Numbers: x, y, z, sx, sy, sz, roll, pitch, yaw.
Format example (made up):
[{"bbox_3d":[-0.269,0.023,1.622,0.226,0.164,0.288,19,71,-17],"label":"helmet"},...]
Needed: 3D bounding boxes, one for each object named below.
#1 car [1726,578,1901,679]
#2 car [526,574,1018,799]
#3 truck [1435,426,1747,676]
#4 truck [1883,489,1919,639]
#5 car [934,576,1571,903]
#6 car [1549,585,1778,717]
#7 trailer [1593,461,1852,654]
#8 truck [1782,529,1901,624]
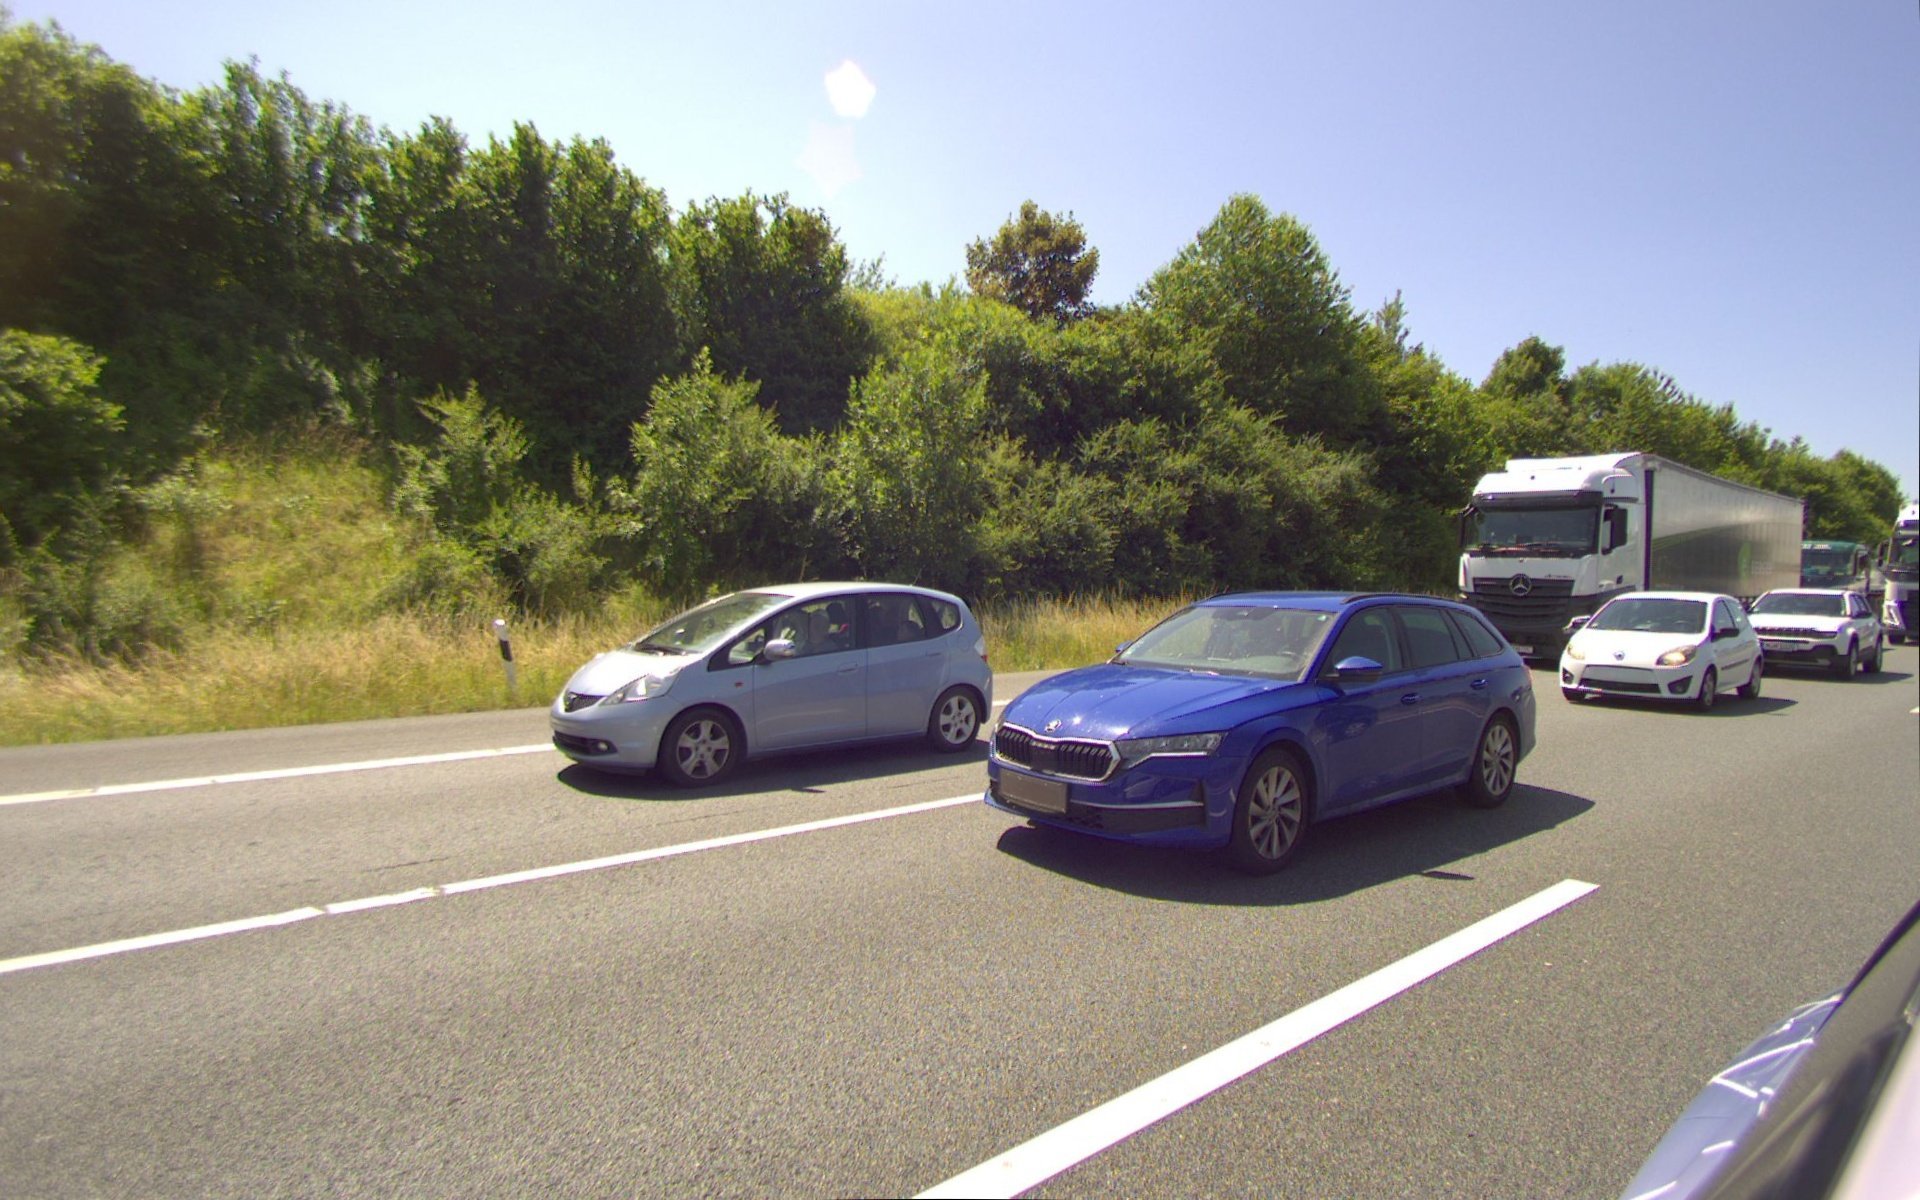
[{"bbox_3d":[15.452,0.420,18.270,3.816,1.577,1.748,-1,3,-40],"label":"car"},{"bbox_3d":[-1.462,0.549,8.690,3.854,1.479,1.665,-1,2,-42],"label":"car"},{"bbox_3d":[13.209,-0.900,20.828,8.322,4.208,2.880,-1,1,-39],"label":"truck"},{"bbox_3d":[29.399,-1.004,29.280,8.210,4.044,2.750,-1,1,-39],"label":"truck"},{"bbox_3d":[2.148,0.583,6.683,4.490,1.434,1.781,-1,3,-39],"label":"car"},{"bbox_3d":[9.538,0.570,13.626,3.743,1.451,1.608,-1,3,-40],"label":"car"},{"bbox_3d":[20.687,-1.019,27.001,11.860,4.208,2.879,-1,1,-40],"label":"trailer"},{"bbox_3d":[31.975,-0.843,36.653,5.573,3.185,2.299,-1,1,-39],"label":"truck"}]
